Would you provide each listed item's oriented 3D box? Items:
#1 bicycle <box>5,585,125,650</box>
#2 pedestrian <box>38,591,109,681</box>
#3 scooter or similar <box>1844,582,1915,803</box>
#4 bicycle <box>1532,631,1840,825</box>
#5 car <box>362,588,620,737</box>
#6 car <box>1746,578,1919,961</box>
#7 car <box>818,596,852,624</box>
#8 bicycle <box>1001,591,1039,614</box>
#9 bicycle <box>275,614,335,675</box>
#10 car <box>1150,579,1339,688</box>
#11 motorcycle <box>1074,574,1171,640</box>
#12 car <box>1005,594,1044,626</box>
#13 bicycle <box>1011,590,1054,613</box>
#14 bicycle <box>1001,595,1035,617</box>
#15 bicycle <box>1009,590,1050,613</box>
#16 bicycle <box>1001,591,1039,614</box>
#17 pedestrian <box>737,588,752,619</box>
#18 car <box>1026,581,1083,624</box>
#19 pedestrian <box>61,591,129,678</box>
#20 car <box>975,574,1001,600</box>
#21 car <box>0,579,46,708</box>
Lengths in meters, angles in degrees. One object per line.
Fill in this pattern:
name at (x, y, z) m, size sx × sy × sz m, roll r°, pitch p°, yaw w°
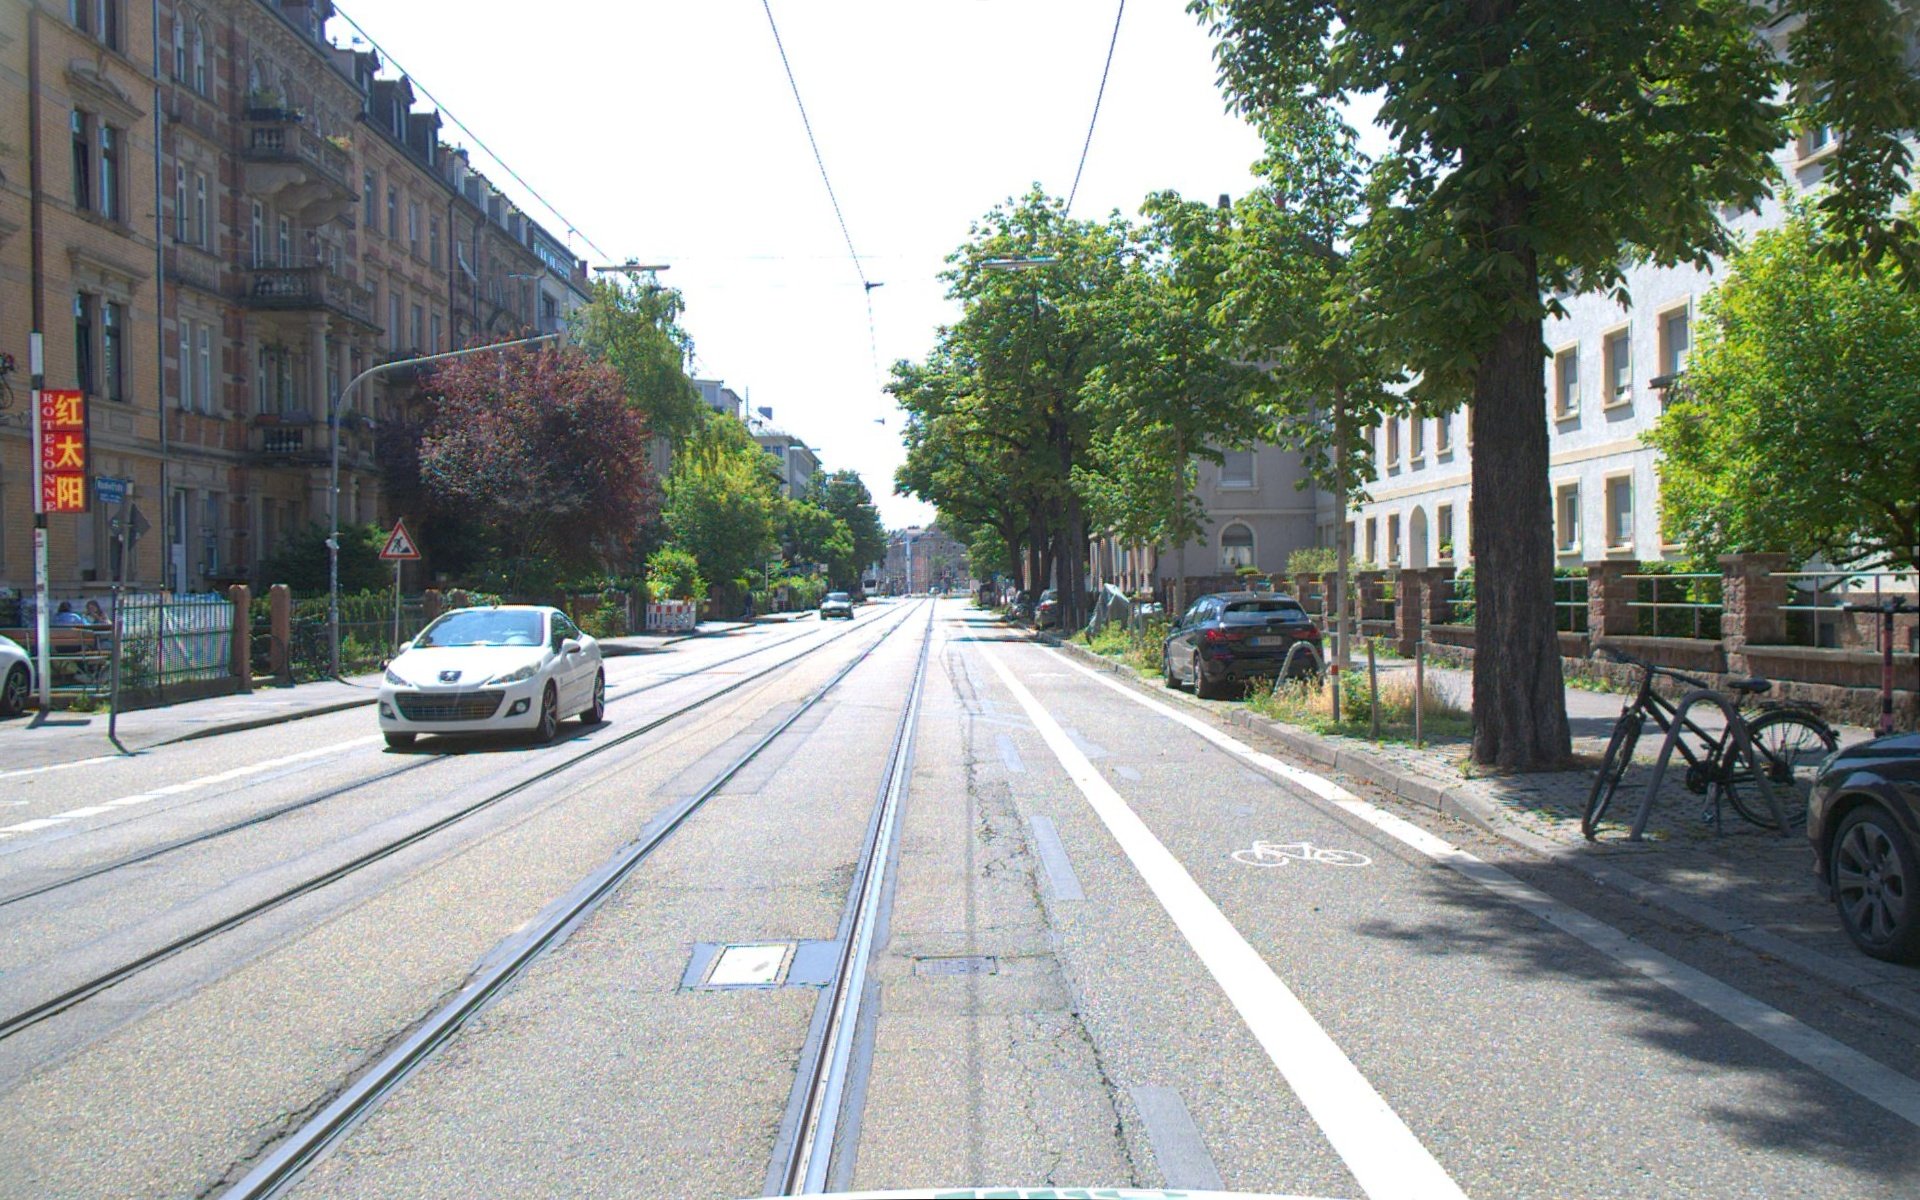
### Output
bicycle at (-14.442, 0.284, 26.696) m, size 1.669 × 1.021 × 0.474 m, roll 1°, pitch 0°, yaw 2°
pedestrian at (-13.418, 0.537, 25.046) m, size 0.696 × 1.321 × 0.711 m, roll -1°, pitch 0°, yaw -5°
scooter or similar at (5.795, 0.544, 10.436) m, size 0.372 × 1.233 × 1.247 m, roll 0°, pitch 4°, yaw 29°
bicycle at (4.323, 0.740, 9.882) m, size 1.622 × 1.097 × 0.605 m, roll 0°, pitch 0°, yaw -9°
car at (-5.003, 0.619, 18.194) m, size 1.720 × 1.449 × 3.999 m, roll 0°, pitch 0°, yaw -1°
car at (4.501, 0.647, 5.350) m, size 1.661 × 1.443 × 4.354 m, roll 0°, pitch 0°, yaw -3°
car at (-6.824, 0.542, 90.491) m, size 1.652 × 1.480 × 3.747 m, roll 0°, pitch 0°, yaw -1°
bicycle at (3.078, 0.134, 84.721) m, size 1.922 × 1.133 × 0.599 m, roll -1°, pitch -2°, yaw 1°
bicycle at (-11.413, 0.755, 28.880) m, size 0.445 × 1.021 × 1.805 m, roll 1°, pitch 0°, yaw -4°
car at (4.093, 0.438, 24.586) m, size 1.734 × 1.451 × 4.859 m, roll 0°, pitch 0°, yaw -3°
motorcycle at (3.935, 0.156, 40.105) m, size 2.279 × 1.567 × 0.864 m, roll 1°, pitch 0°, yaw 42°
car at (3.104, 0.497, 80.200) m, size 1.589 × 1.473 × 3.809 m, roll -2°, pitch -1°, yaw -1°
bicycle at (3.330, 0.073, 76.007) m, size 1.921 × 1.082 × 0.599 m, roll 0°, pitch -1°, yaw 6°
bicycle at (3.151, 0.327, 89.539) m, size 1.779 × 1.133 × 0.493 m, roll -1°, pitch -2°, yaw -2°
bicycle at (3.184, 0.076, 75.611) m, size 1.849 × 1.070 × 0.538 m, roll 0°, pitch -1°, yaw 6°
bicycle at (3.087, 0.139, 85.385) m, size 1.968 × 1.133 × 0.640 m, roll -1°, pitch -2°, yaw 1°
pedestrian at (-11.618, 0.169, 89.073) m, size 0.736 × 1.657 × 0.832 m, roll 1°, pitch -1°, yaw -5°
car at (3.478, 0.078, 61.559) m, size 1.738 × 1.527 × 4.303 m, roll -1°, pitch 0°, yaw -2°
pedestrian at (-13.484, 0.534, 25.800) m, size 0.696 × 1.321 × 0.711 m, roll -1°, pitch 0°, yaw -5°
car at (2.295, -1.067, 134.742) m, size 1.953 × 2.071 × 4.696 m, roll 0°, pitch 0°, yaw -1°
car at (-12.855, 0.517, 19.790) m, size 1.829 × 1.628 × 4.096 m, roll 2°, pitch 0°, yaw -6°
